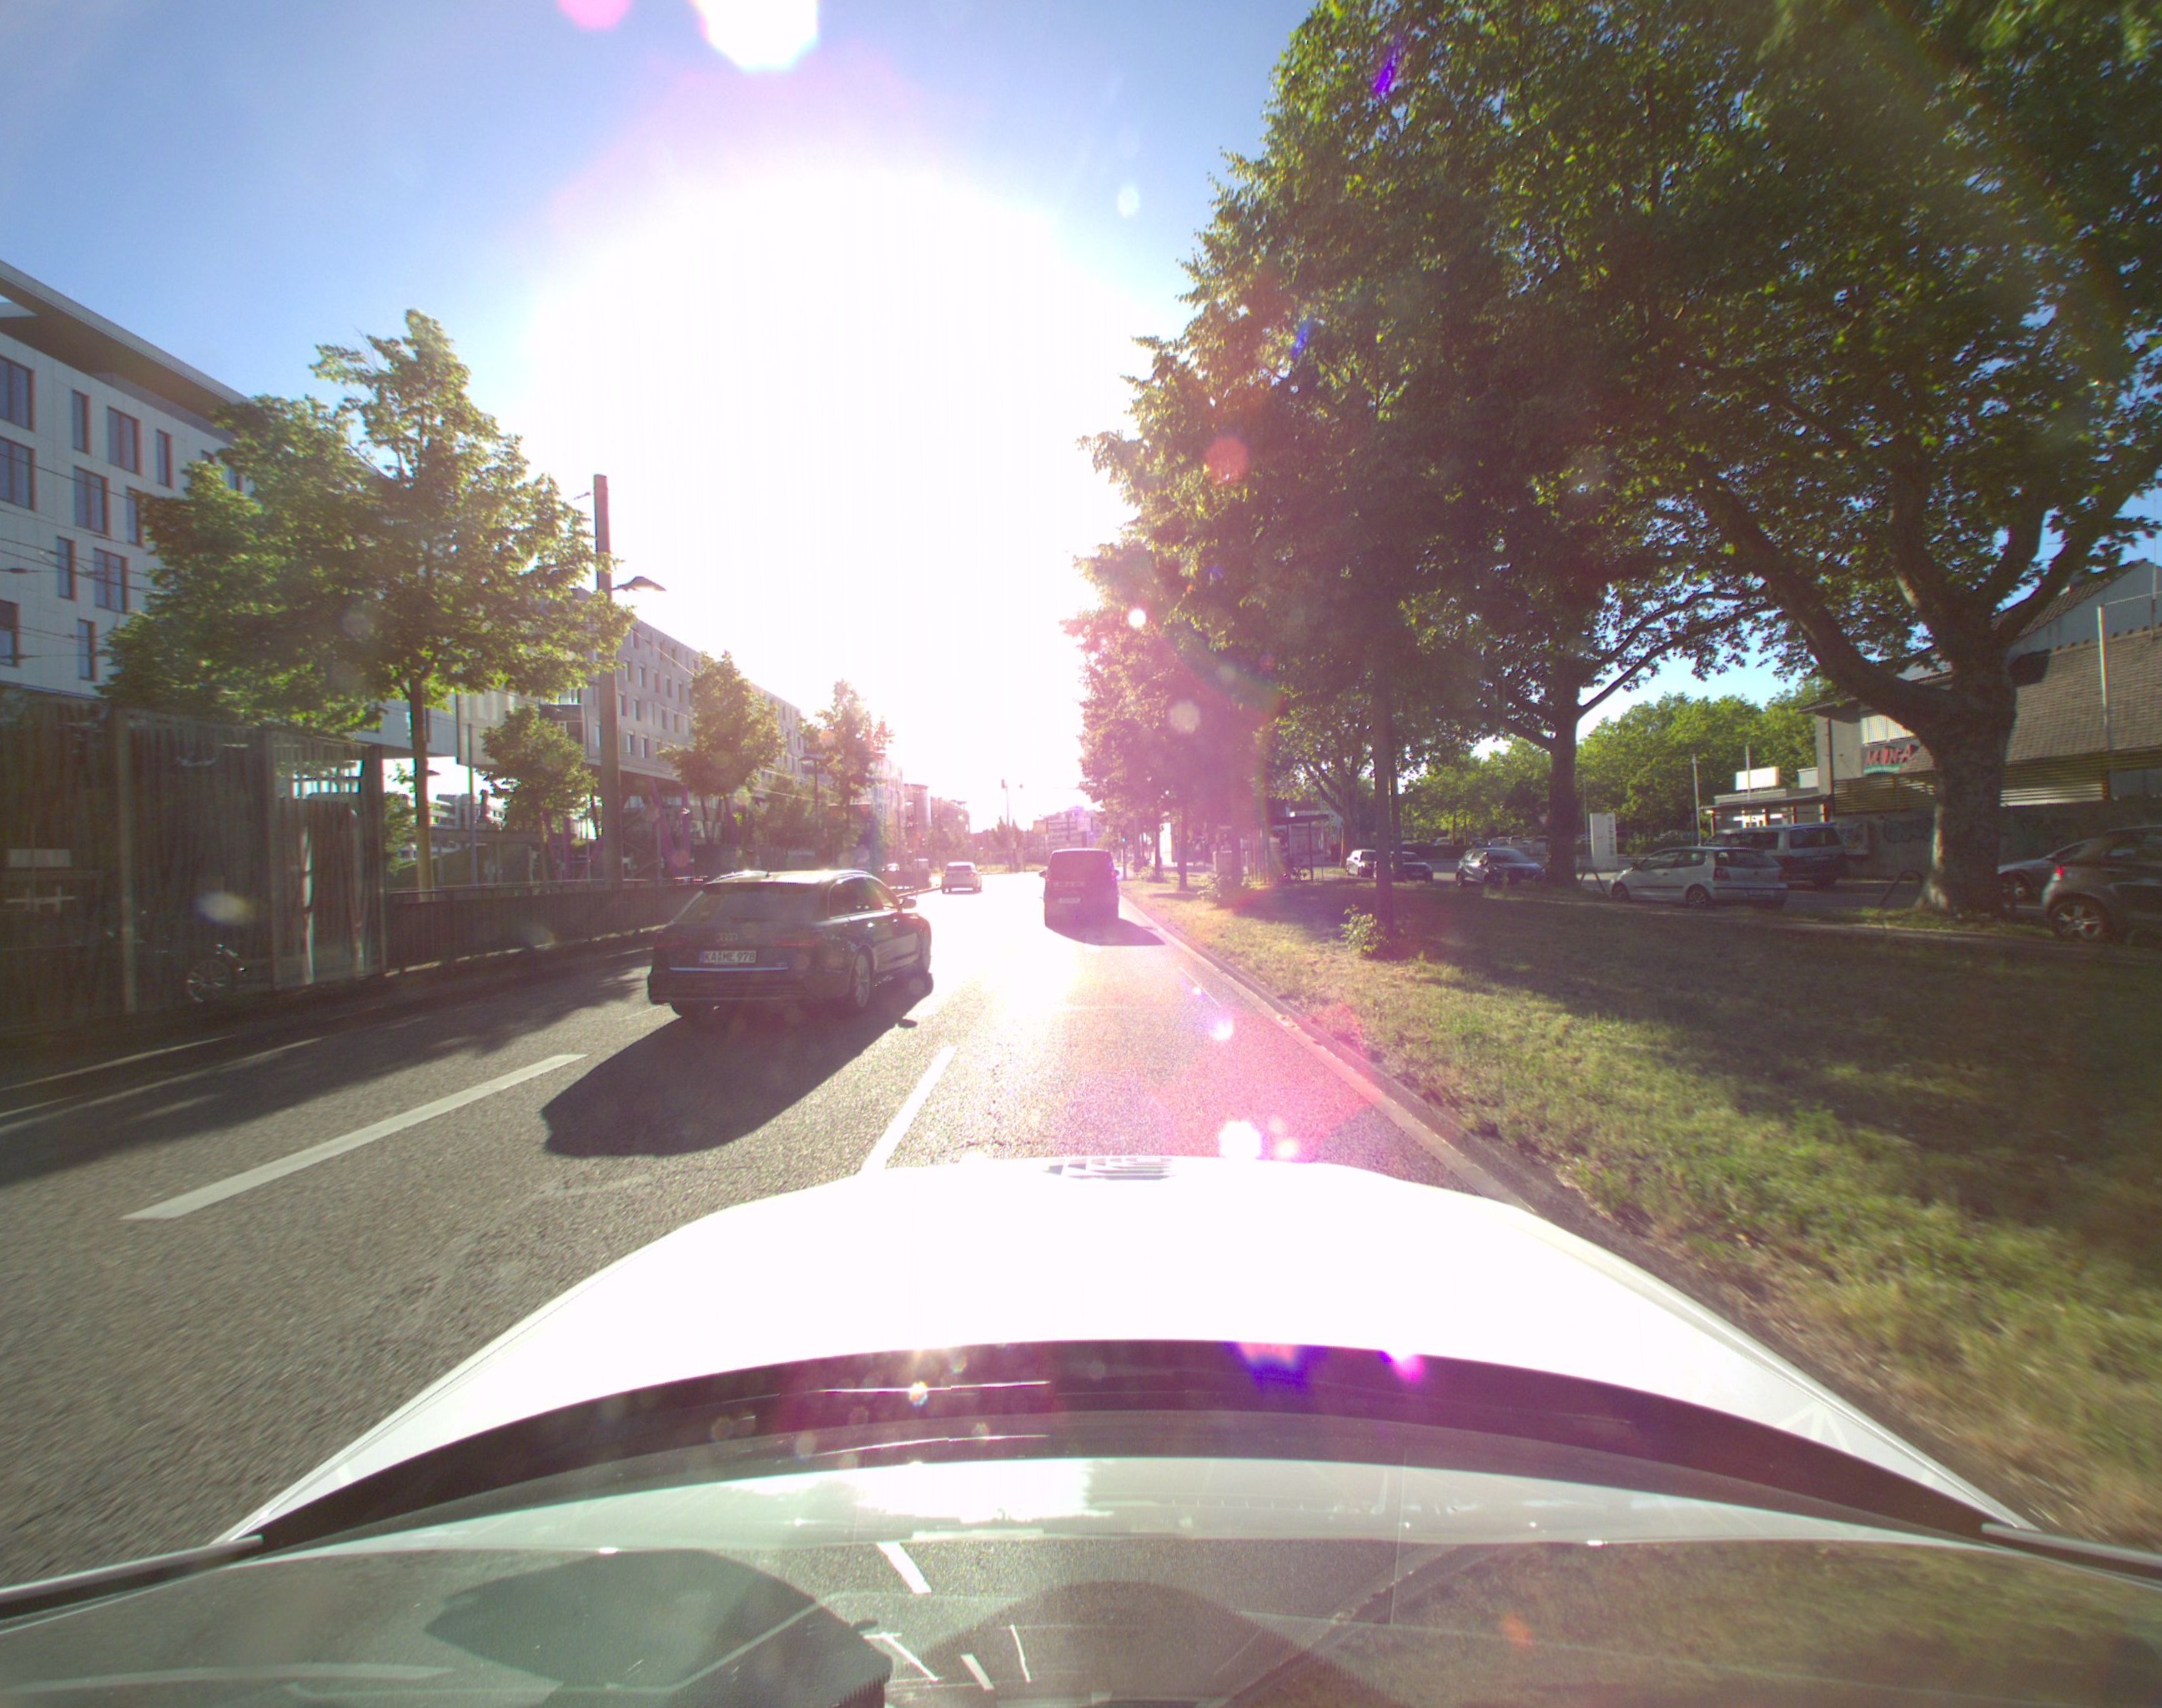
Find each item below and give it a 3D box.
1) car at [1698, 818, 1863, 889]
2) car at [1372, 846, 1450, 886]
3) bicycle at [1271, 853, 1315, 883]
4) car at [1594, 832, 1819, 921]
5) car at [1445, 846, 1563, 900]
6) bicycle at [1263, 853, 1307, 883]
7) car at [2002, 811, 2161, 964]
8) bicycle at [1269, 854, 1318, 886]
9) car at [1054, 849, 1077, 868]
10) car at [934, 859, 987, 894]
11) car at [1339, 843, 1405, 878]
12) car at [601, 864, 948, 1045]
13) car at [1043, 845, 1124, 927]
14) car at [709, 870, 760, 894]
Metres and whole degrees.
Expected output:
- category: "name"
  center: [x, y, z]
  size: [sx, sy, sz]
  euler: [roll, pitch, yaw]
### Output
- category: "car"
  center: [22.315, 0.024, 26.229]
  size: [1.984, 2.014, 4.006]
  euler: [-3, -1, 5]
- category: "car"
  center: [14.920, 0.550, 37.016]
  size: [1.866, 1.684, 3.997]
  euler: [0, -1, -1]
- category: "bicycle"
  center: [9.028, 0.590, 34.692]
  size: [1.772, 1.268, 0.479]
  euler: [0, -1, 0]
- category: "car"
  center: [13.746, 0.471, 18.253]
  size: [1.866, 1.684, 3.997]
  euler: [-3, -1, -1]
- category: "car"
  center: [14.213, 0.642, 27.623]
  size: [1.866, 1.684, 3.997]
  euler: [0, -1, -1]
- category: "bicycle"
  center: [8.980, 0.603, 35.842]
  size: [1.772, 1.268, 0.479]
  euler: [-1, -1, 0]
- category: "car"
  center: [12.740, 0.353, 8.489]
  size: [1.863, 1.684, 4.004]
  euler: [-1, -1, 4]
- category: "bicycle"
  center: [8.820, 0.646, 33.805]
  size: [1.911, 1.268, 0.479]
  euler: [-1, -1, 0]
- category: "car"
  center: [-1.689, 0.502, 90.883]
  size: [2.262, 2.014, 4.710]
  euler: [-2, -1, 1]
- category: "car"
  center: [-5.887, 1.075, 40.110]
  size: [1.987, 1.618, 3.999]
  euler: [0, -1, 0]
- category: "car"
  center: [14.741, 0.366, 41.484]
  size: [1.866, 1.684, 3.998]
  euler: [0, -1, -1]
- category: "car"
  center: [-3.010, 0.882, 9.437]
  size: [1.945, 1.480, 5.086]
  euler: [-1, 0, 2]
- category: "car"
  center: [-0.027, 0.763, 20.425]
  size: [1.804, 1.838, 3.995]
  euler: [0, -1, -3]
- category: "car"
  center: [-26.475, 2.085, 62.339]
  size: [1.985, 1.765, 4.004]
  euler: [-1, -1, 4]
